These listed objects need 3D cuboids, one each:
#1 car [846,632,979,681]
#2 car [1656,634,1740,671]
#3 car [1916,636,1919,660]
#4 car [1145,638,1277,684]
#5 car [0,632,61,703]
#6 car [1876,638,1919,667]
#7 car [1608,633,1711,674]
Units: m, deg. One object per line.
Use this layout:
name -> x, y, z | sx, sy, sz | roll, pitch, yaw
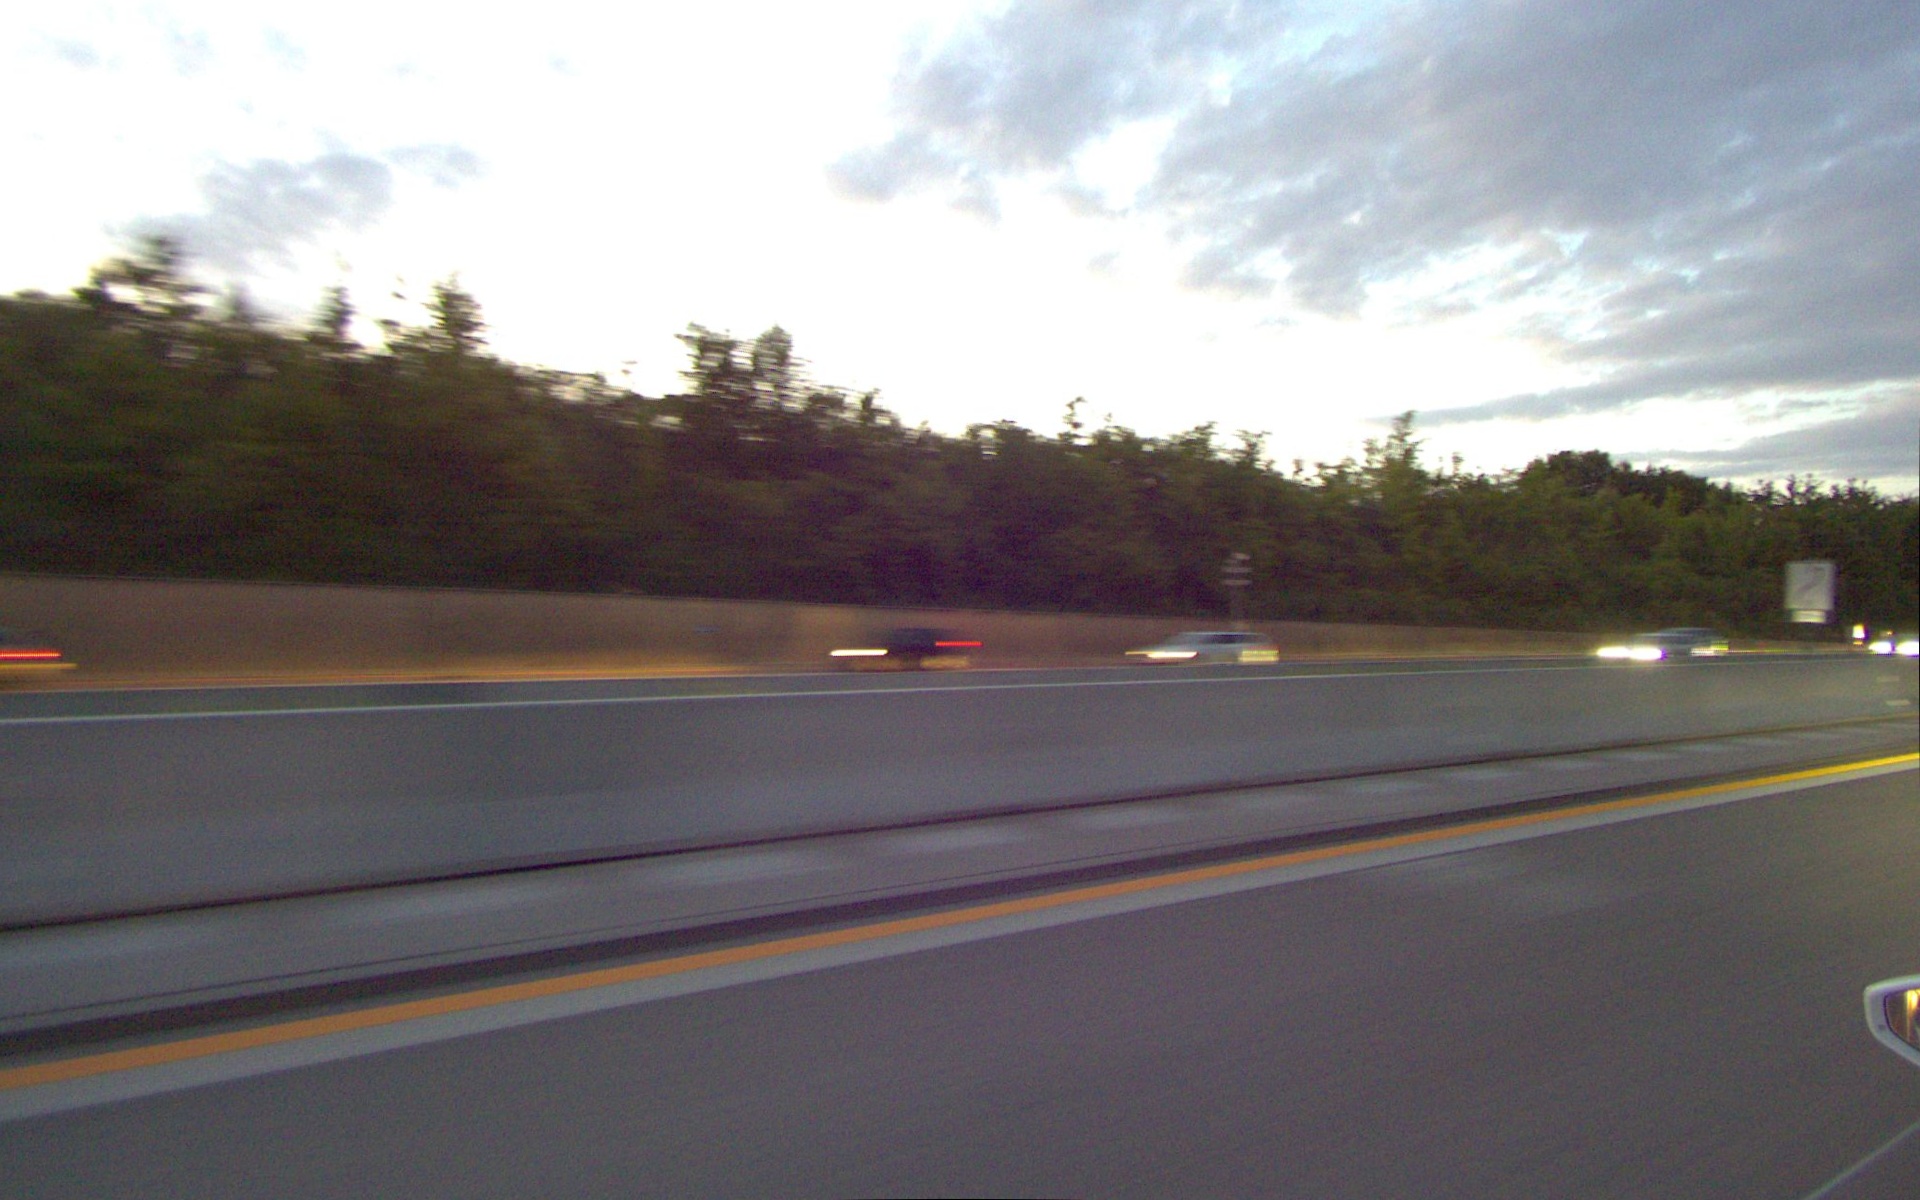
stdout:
car -> -1.584, 1.885, 33.631 | 4.173, 1.489, 1.570 | 2, 0, -28
car -> 37.545, 2.642, 51.077 | 4.615, 1.745, 1.742 | 2, 0, -30
car -> 64.480, 3.198, 65.647 | 4.126, 1.527, 1.657 | 2, 0, -28
car -> 8.951, 2.160, 35.769 | 4.588, 1.489, 1.666 | 2, 0, -28
car -> -22.741, 1.461, 22.141 | 4.044, 1.489, 1.570 | 2, 0, -28
car -> 53.150, 2.936, 55.938 | 4.612, 1.474, 1.743 | 2, 0, -28
car -> 30.717, 2.338, 44.082 | 4.820, 1.610, 1.798 | 2, 0, -30
